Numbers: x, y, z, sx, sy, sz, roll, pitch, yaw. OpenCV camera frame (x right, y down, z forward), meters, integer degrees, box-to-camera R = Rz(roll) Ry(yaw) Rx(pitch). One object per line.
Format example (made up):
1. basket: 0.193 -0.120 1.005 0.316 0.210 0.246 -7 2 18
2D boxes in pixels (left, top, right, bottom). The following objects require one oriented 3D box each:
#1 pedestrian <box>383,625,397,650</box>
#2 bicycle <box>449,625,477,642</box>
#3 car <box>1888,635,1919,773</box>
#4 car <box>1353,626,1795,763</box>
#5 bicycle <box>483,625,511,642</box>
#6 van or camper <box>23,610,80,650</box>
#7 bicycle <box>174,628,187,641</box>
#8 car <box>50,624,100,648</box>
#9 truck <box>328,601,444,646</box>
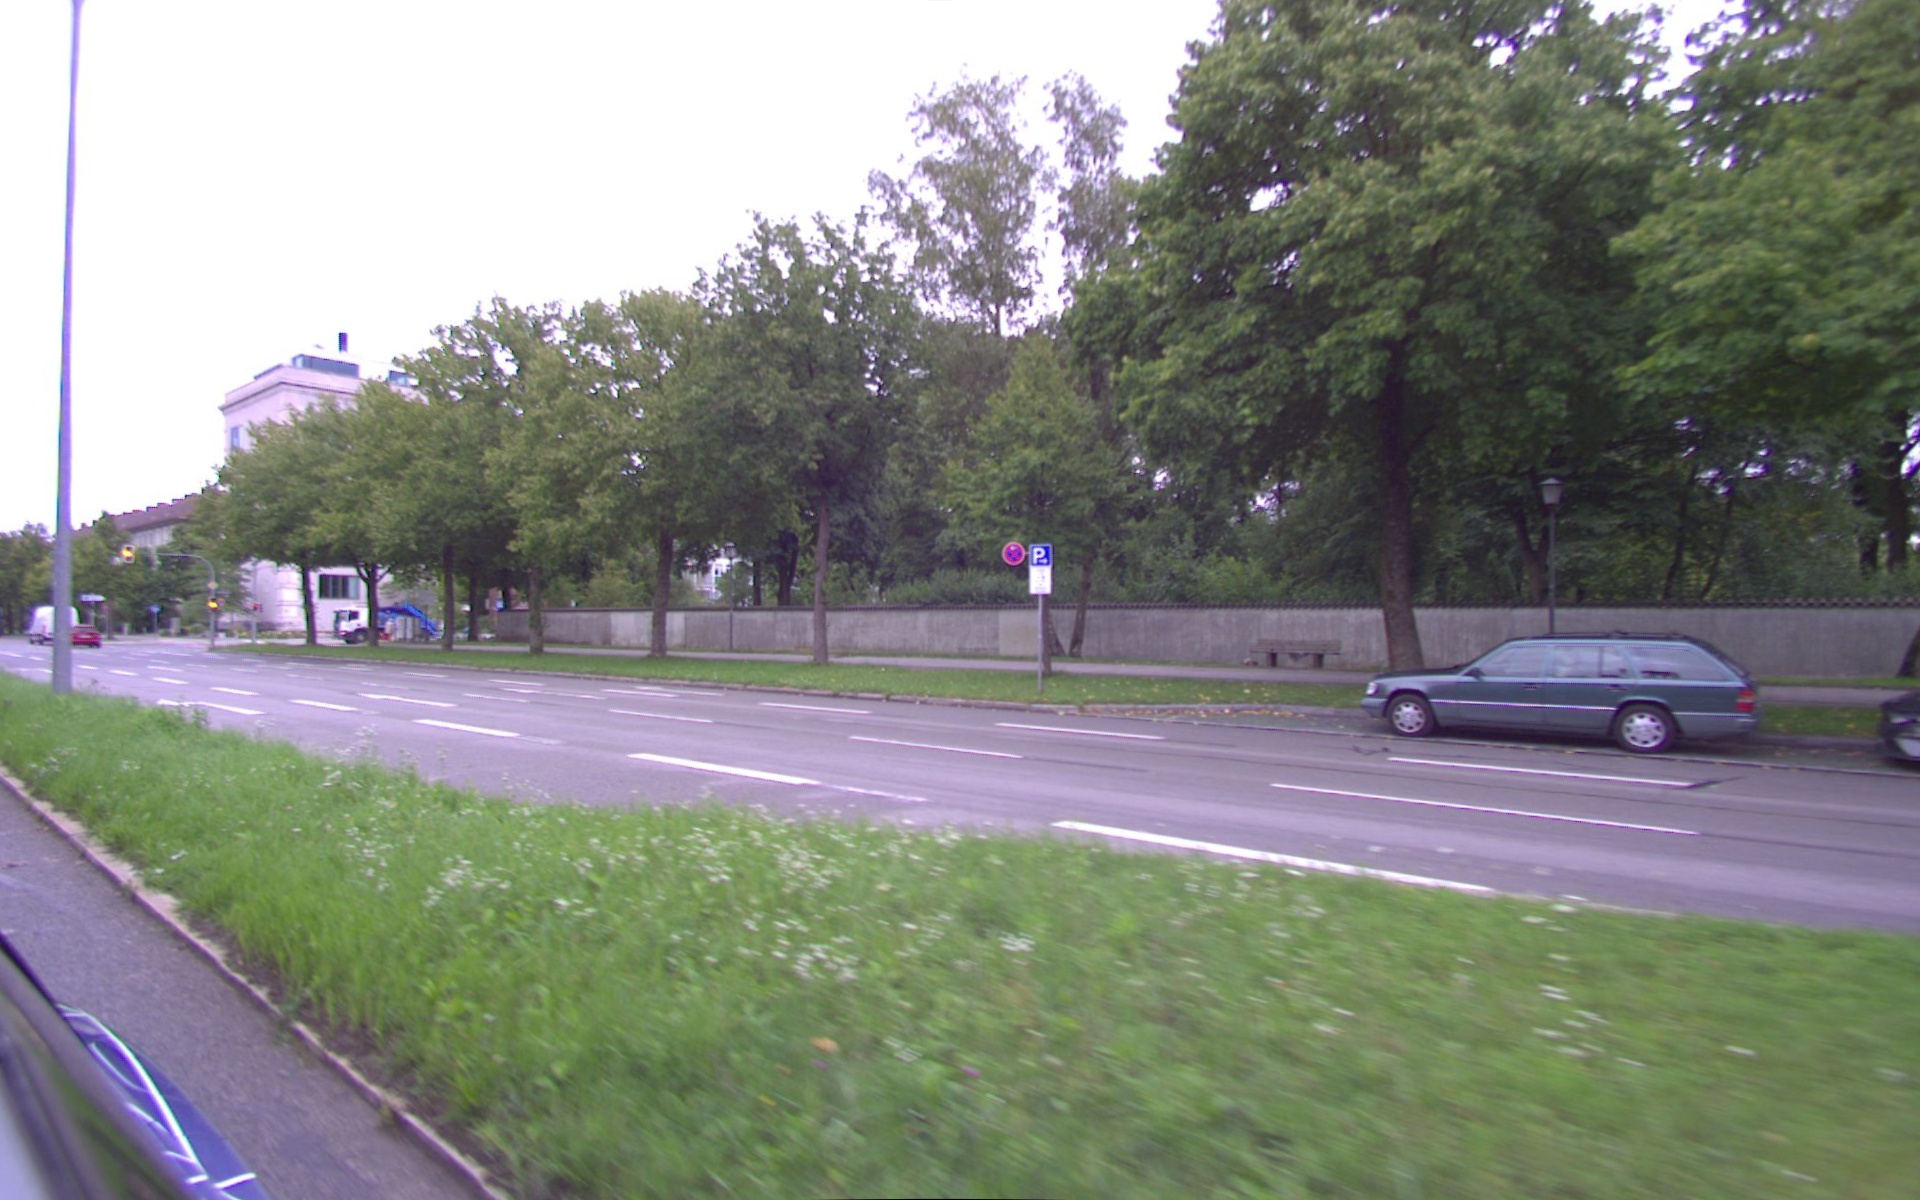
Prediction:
1. pedestrian: -39.015 2.563 69.253 0.516 1.753 0.701 -1 -2 36
2. bicycle: -35.078 2.377 71.390 2.494 1.195 0.827 -1 -2 40
3. car: 12.368 1.084 9.946 4.704 1.406 1.642 -1 0 41
4. car: 8.171 1.142 13.804 4.913 1.501 1.780 -1 0 41
5. bicycle: -33.309 2.405 72.806 2.494 1.195 0.827 -1 -2 40
6. van or camper: -63.896 2.150 71.102 6.948 2.667 2.155 -2 -4 42
7. bicycle: -69.856 3.080 90.648 1.825 1.190 0.539 -1 -2 40
8. car: -55.535 2.265 63.475 4.655 1.463 1.725 -2 -4 41
9. truck: -46.651 1.914 82.454 2.771 3.515 7.715 -1 -2 42
